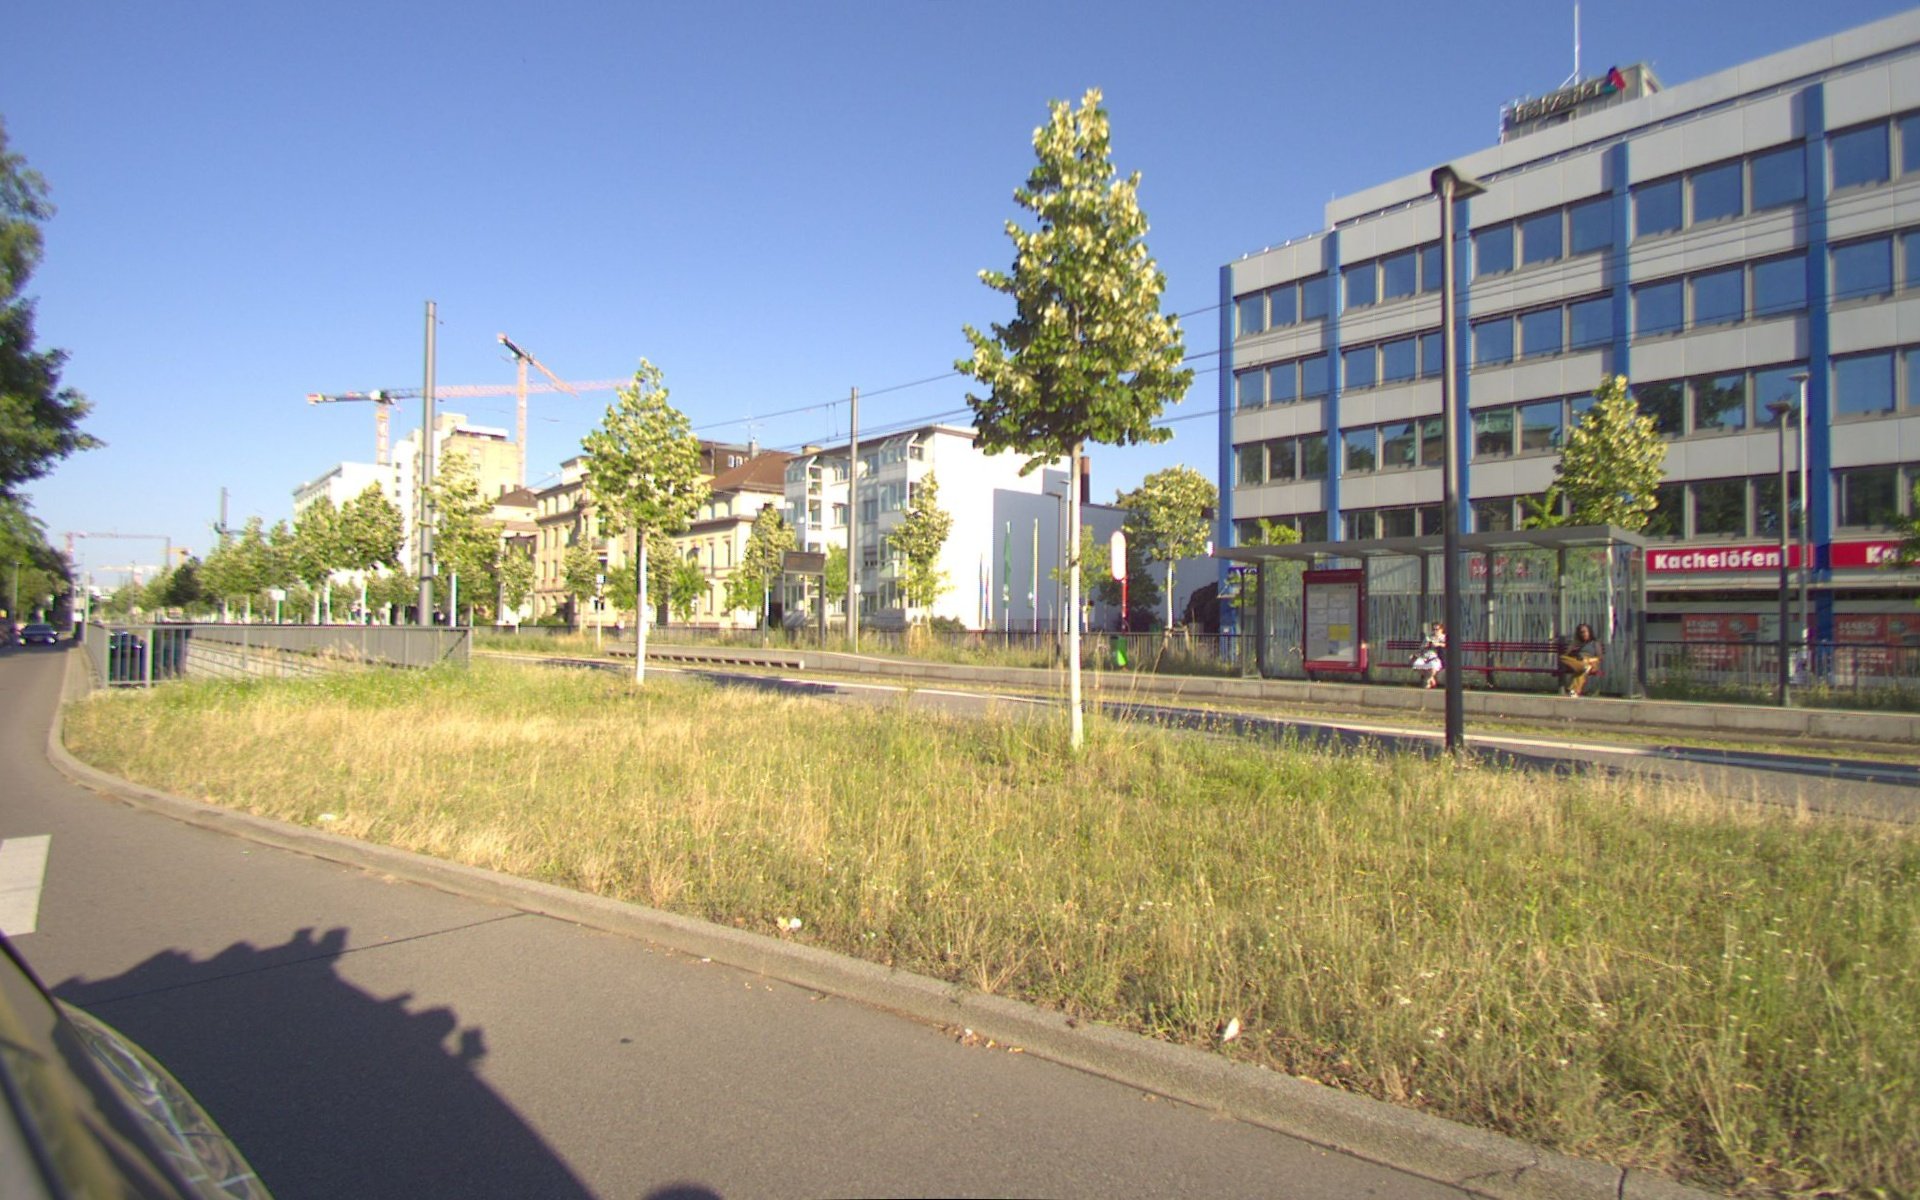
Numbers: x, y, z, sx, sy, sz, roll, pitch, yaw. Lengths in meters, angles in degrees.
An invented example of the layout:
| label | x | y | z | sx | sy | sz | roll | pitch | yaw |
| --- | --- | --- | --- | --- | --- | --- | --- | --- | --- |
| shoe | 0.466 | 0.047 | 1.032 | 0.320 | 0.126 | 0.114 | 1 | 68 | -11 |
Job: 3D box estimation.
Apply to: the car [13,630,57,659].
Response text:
| label | x | y | z | sx | sy | sz | roll | pitch | yaw |
| --- | --- | --- | --- | --- | --- | --- | --- | --- | --- |
| car | -62.484 | 2.978 | 68.415 | 2.049 | 1.852 | 4.006 | 2 | -3 | -41 |

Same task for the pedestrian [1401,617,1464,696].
| label | x | y | z | sx | sy | sz | roll | pitch | yaw |
| --- | --- | --- | --- | --- | --- | --- | --- | --- | --- |
| pedestrian | 8.794 | 1.045 | 18.842 | 0.828 | 1.421 | 0.805 | 2 | -3 | -42 |

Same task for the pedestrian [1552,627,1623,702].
| label | x | y | z | sx | sy | sz | roll | pitch | yaw |
| --- | --- | --- | --- | --- | --- | --- | --- | --- | --- |
| pedestrian | 10.471 | 1.063 | 16.884 | 0.922 | 1.206 | 0.765 | 2 | -3 | -42 |

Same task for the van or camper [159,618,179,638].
| label | x | y | z | sx | sy | sz | roll | pitch | yaw |
| --- | --- | --- | --- | --- | --- | --- | --- | --- | --- |
| van or camper | -128.671 | 4.618 | 164.560 | 2.473 | 3.192 | 7.490 | 2 | -2 | -38 |
